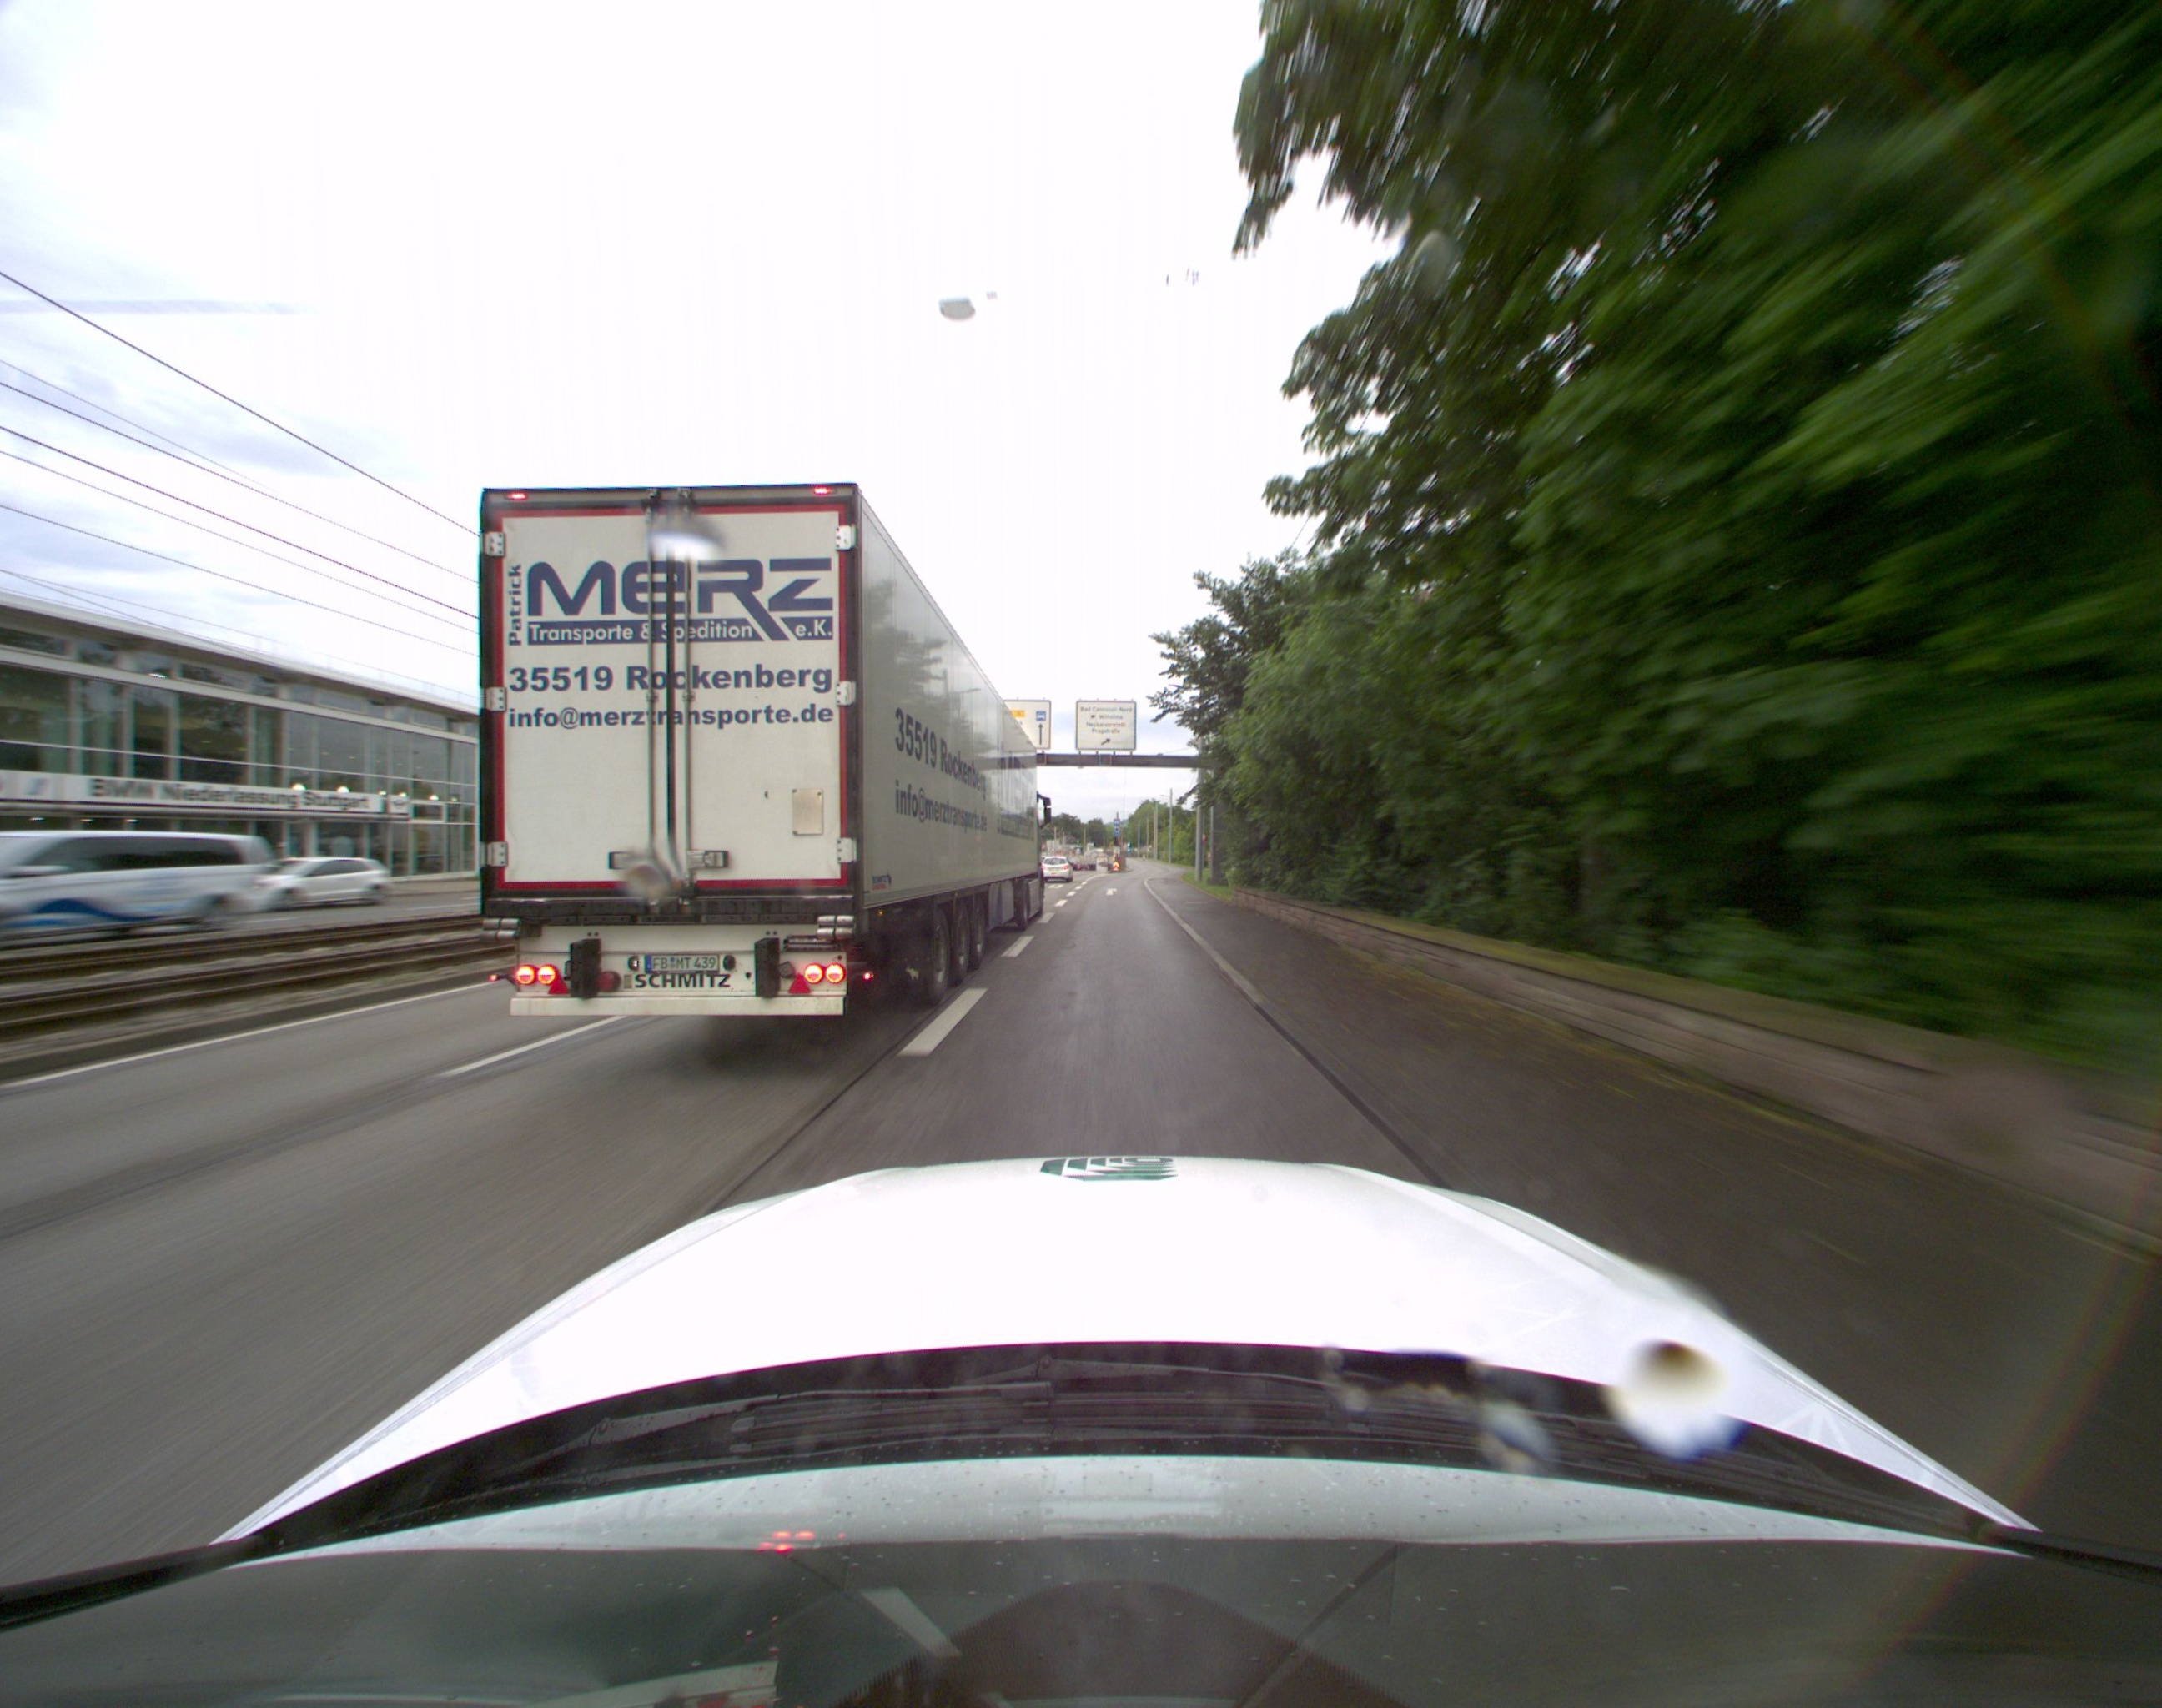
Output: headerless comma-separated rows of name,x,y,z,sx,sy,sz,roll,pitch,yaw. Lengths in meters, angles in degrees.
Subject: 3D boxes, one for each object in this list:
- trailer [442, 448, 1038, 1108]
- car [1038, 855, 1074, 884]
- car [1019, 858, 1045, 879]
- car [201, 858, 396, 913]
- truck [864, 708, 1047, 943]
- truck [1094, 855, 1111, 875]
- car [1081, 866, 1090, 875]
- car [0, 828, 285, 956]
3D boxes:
trailer,-2.580,-0.503,11.905,2.752,4.252,13.188,-1,0,2
car,-1.382,0.847,46.573,1.803,1.423,4.002,0,1,1
car,-3.899,1.136,65.542,1.675,1.446,4.002,0,1,1
car,-21.752,0.825,22.884,1.674,1.404,3.853,0,0,2
truck,-2.402,-0.521,17.877,2.745,4.205,6.309,-1,0,2
truck,4.682,2.379,177.401,3.505,4.040,8.077,-1,-1,2
car,0.741,2.849,140.643,1.421,1.354,2.961,0,0,1
car,-16.842,0.558,13.565,1.986,1.874,5.194,0,0,1
